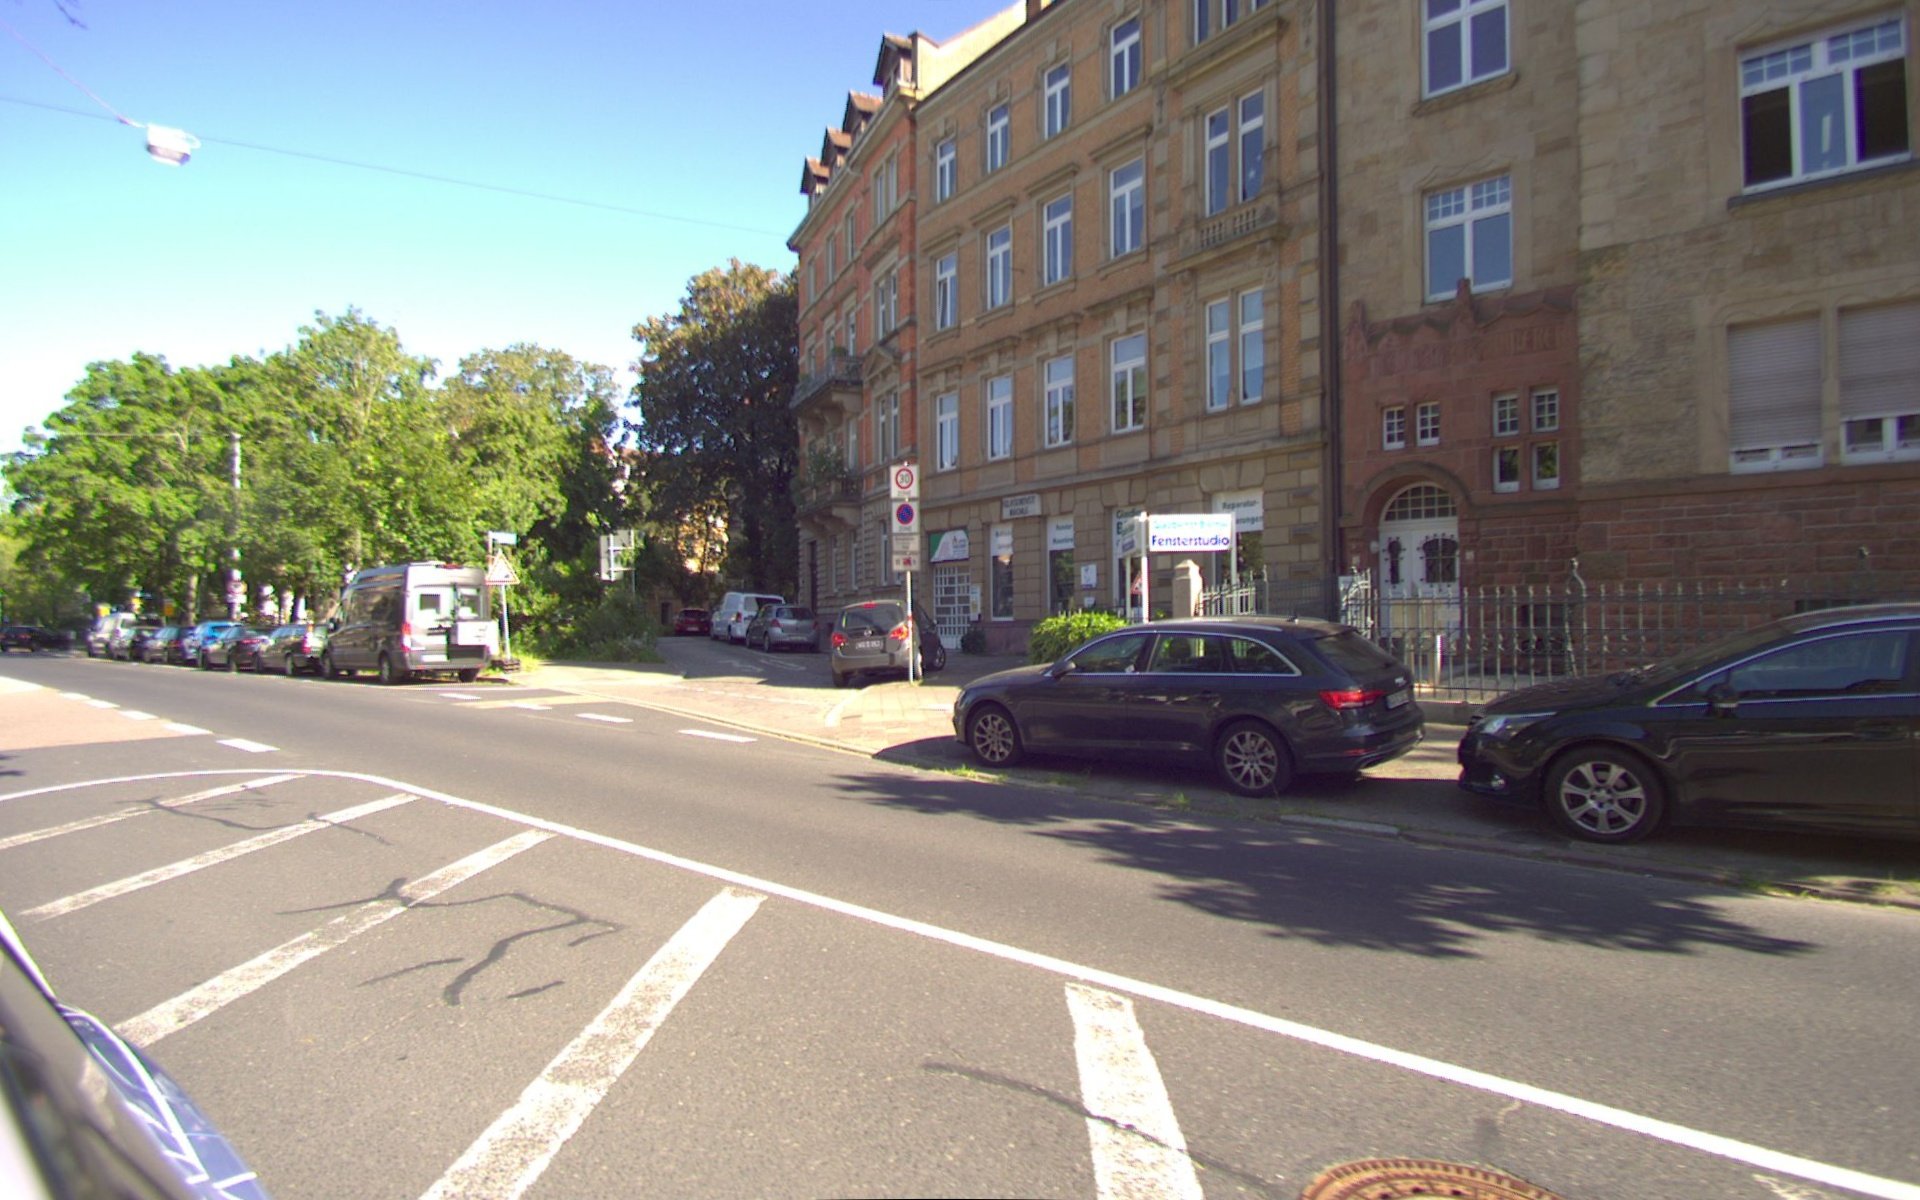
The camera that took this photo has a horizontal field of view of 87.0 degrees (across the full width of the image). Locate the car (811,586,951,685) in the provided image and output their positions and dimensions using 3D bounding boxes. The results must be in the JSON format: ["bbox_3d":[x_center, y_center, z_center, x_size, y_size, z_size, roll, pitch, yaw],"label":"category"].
[{"bbox_3d":[-1.493,0.638,20.703,1.976,1.682,4.135,-3,1,7],"label":"car"}]

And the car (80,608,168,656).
[{"bbox_3d":[-38.180,1.488,46.180,4.867,2.052,1.965,-2,-4,37],"label":"car"}]

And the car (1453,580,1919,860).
[{"bbox_3d":[5.866,0.659,6.378,4.696,1.505,1.839,-2,2,36],"label":"car"}]

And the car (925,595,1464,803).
[{"bbox_3d":[2.023,0.780,9.736,4.718,1.438,1.836,-2,2,42],"label":"car"}]

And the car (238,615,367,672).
[{"bbox_3d":[-18.438,1.220,28.315,4.659,1.468,1.676,-2,-3,40],"label":"car"}]

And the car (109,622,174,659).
[{"bbox_3d":[-34.715,1.705,42.883,3.956,1.513,1.448,-1,-3,41],"label":"car"}]

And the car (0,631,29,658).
[{"bbox_3d":[-54.097,2.495,57.323,4.131,1.461,1.576,-2,-2,41],"label":"car"}]

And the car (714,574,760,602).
[{"bbox_3d":[-22.303,-1.171,101.056,4.914,2.643,1.869,-2,-3,40],"label":"car"}]

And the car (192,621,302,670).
[{"bbox_3d":[-22.247,1.410,31.535,4.402,1.424,1.762,-2,-4,41],"label":"car"}]

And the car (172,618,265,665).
[{"bbox_3d":[-26.130,1.425,35.608,4.557,1.550,1.761,-2,-2,42],"label":"car"}]

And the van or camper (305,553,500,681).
[{"bbox_3d":[-13.666,0.445,24.616,6.084,2.760,2.193,-2,-2,41],"label":"van or camper"}]

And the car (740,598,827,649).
[{"bbox_3d":[-5.677,0.729,32.240,1.833,1.524,3.541,2,-1,-25],"label":"car"}]

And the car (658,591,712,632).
[{"bbox_3d":[-13.748,0.553,50.504,1.833,1.928,4.466,2,-1,-25],"label":"car"}]

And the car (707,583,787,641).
[{"bbox_3d":[-7.739,0.424,36.485,1.833,1.928,4.466,2,-1,-25],"label":"car"}]

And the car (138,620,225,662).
[{"bbox_3d":[-29.632,1.543,38.472,4.266,1.493,1.575,-1,-2,38],"label":"car"}]
